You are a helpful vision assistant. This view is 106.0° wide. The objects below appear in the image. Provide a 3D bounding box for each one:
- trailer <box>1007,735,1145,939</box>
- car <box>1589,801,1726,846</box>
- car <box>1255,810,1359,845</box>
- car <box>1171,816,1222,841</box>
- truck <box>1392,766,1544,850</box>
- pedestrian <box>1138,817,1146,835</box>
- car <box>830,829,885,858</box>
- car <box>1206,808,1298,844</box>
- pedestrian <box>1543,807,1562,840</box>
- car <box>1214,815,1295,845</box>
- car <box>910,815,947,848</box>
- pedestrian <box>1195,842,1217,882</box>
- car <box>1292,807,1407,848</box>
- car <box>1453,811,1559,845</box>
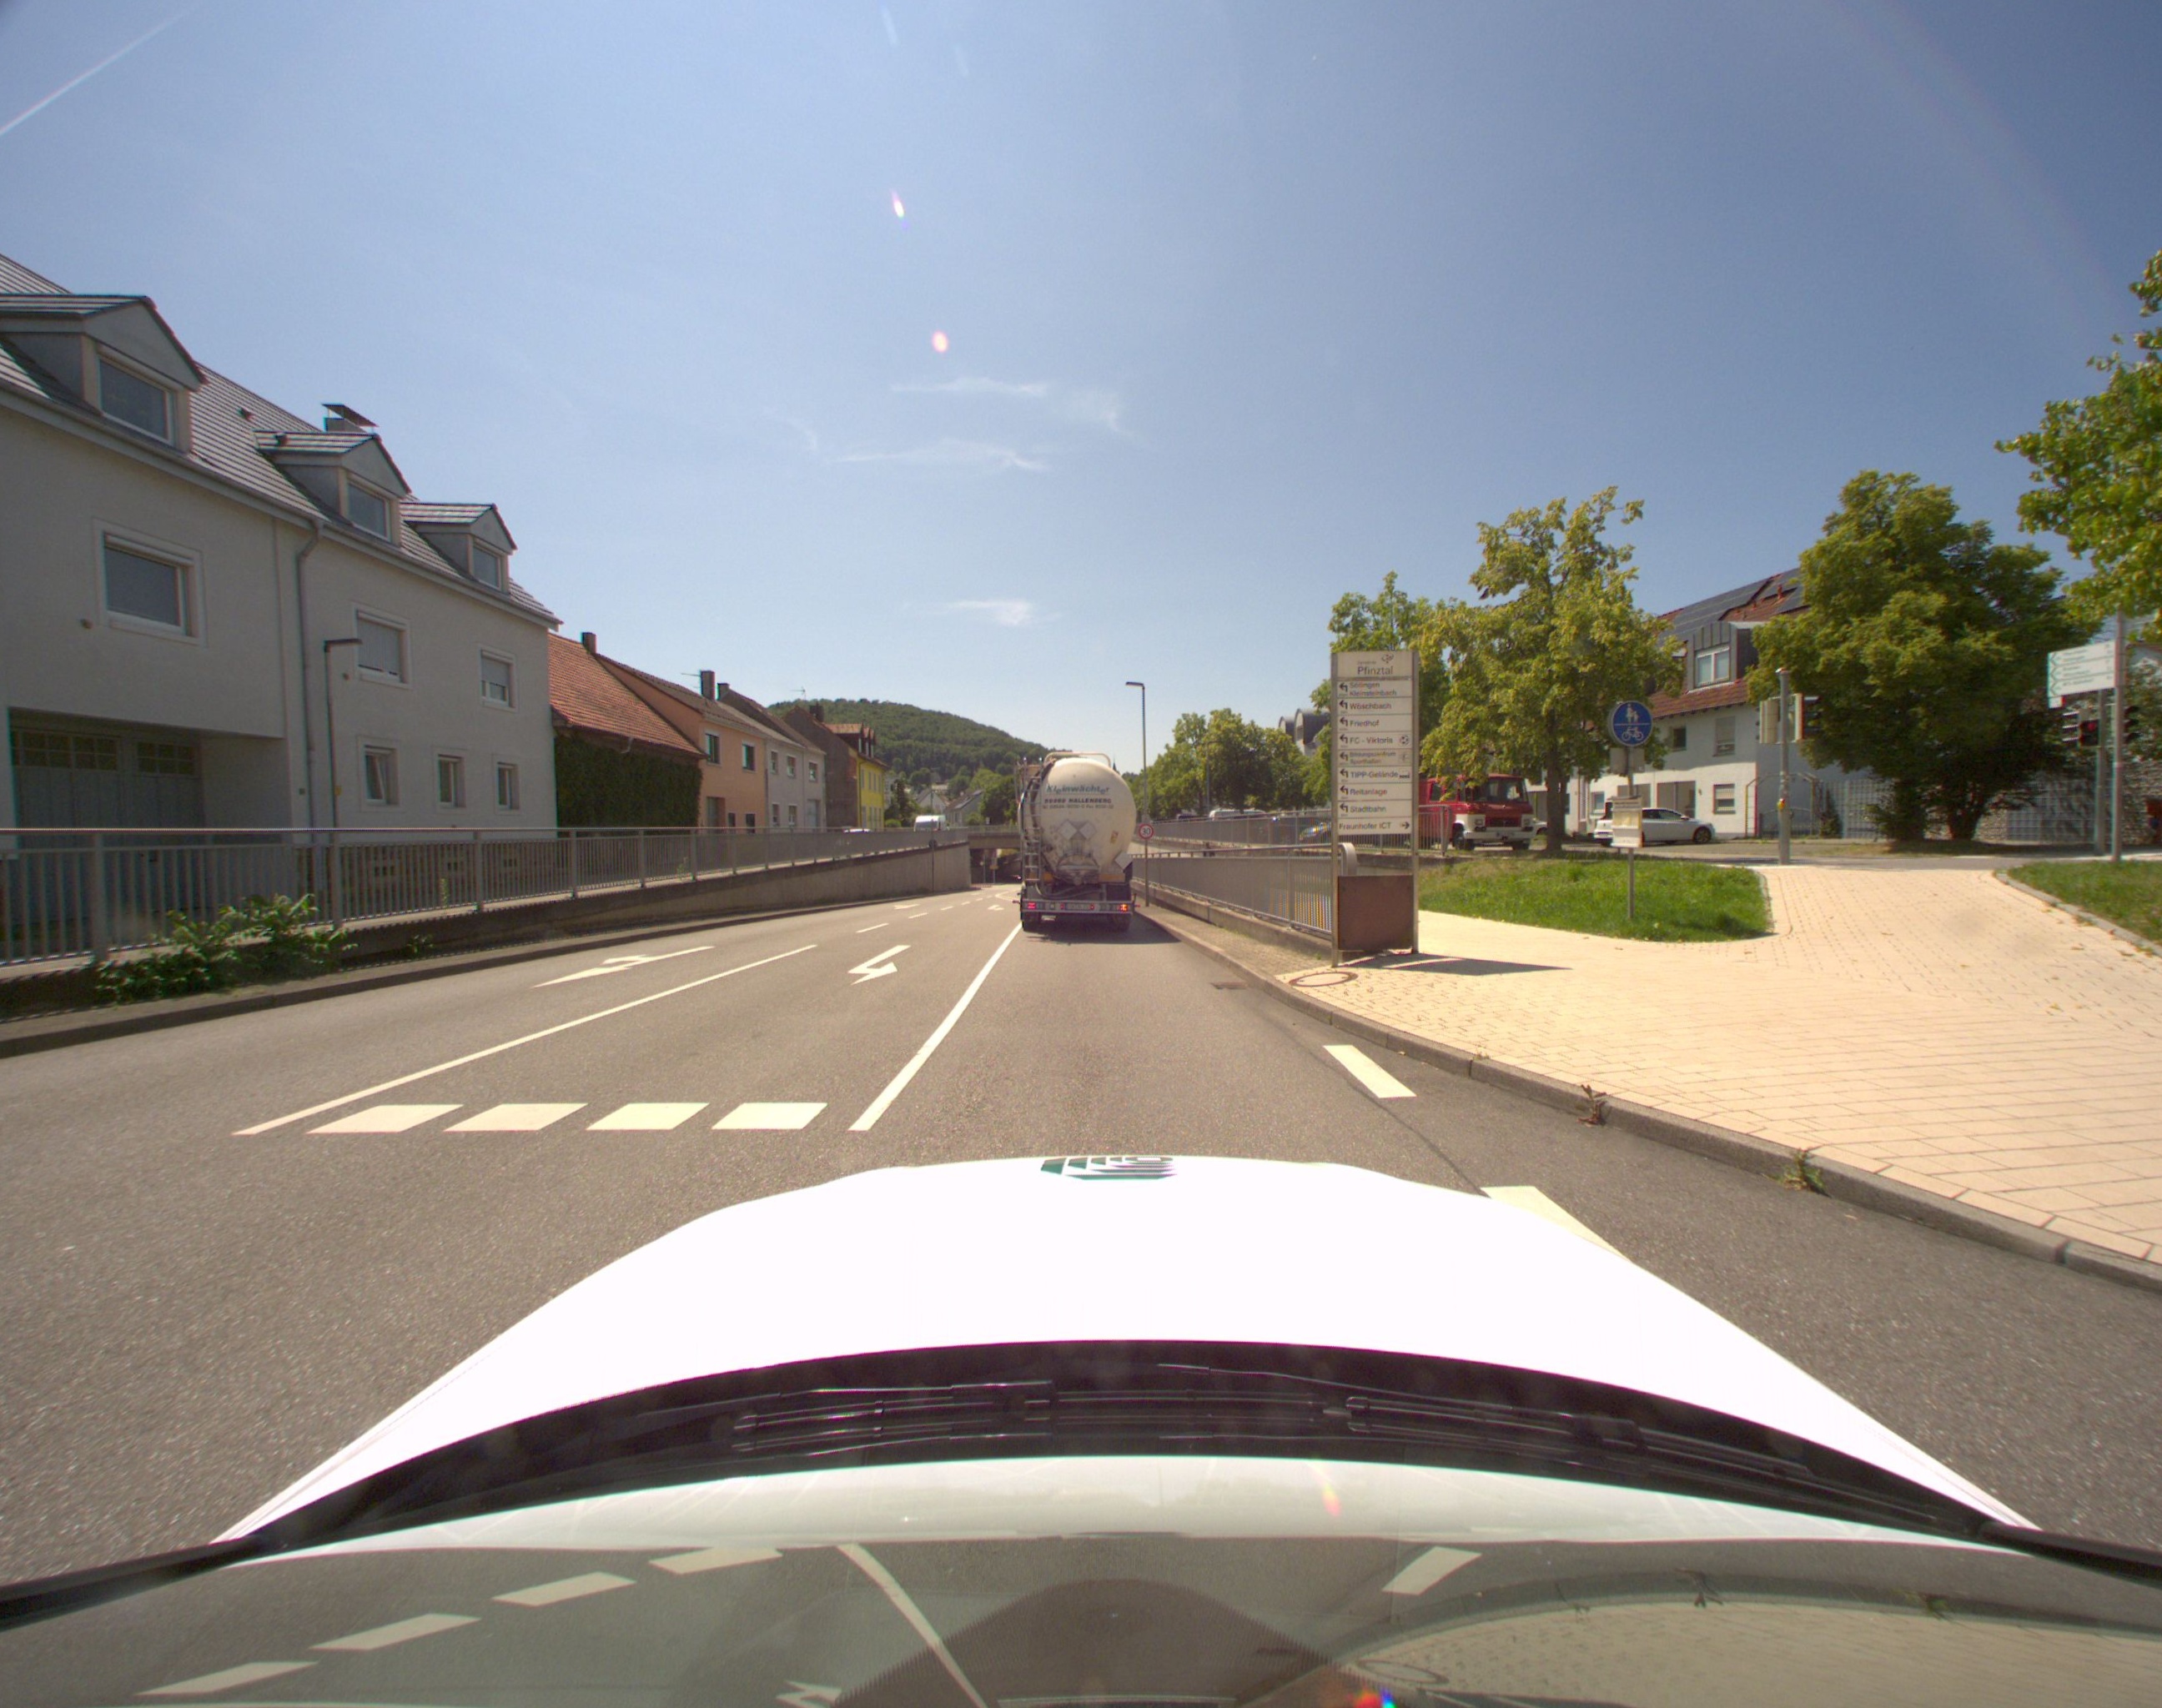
[{"bbox_3d":[-0.207,-0.223,22.890,2.727,4.065,13.304,0,-1,-1],"label":"trailer"},{"bbox_3d":[21.648,-1.130,30.690,3.926,1.478,1.757,-3,1,-2],"label":"car"},{"bbox_3d":[10.135,-1.185,36.690,4.192,1.498,1.686,-1,1,-1],"label":"car"},{"bbox_3d":[9.294,-2.054,65.937,3.894,1.885,1.686,-1,1,-1],"label":"car"},{"bbox_3d":[11.853,-1.363,25.458,2.127,2.334,5.256,-1,1,-2],"label":"truck"},{"bbox_3d":[6.022,-2.723,80.368,0.670,1.779,0.594,-1,1,0],"label":"pedestrian"},{"bbox_3d":[-11.786,-0.607,43.275,1.808,1.462,4.308,1,2,-1],"label":"car"},{"bbox_3d":[10.223,-1.696,49.007,5.096,2.063,1.988,-1,1,-1],"label":"car"},{"bbox_3d":[22.732,-1.471,39.266,0.607,1.511,0.746,-2,2,45],"label":"pedestrian"},{"bbox_3d":[9.809,-1.369,46.241,4.192,1.596,1.686,-1,1,-1],"label":"car"},{"bbox_3d":[-12.289,-1.845,66.067,2.060,2.536,5.658,1,1,-2],"label":"car"},{"bbox_3d":[5.624,0.375,36.684,0.833,1.782,0.788,-1,-1,-1],"label":"pedestrian"},{"bbox_3d":[10.524,-1.048,32.079,3.975,1.498,1.748,-1,1,-1],"label":"car"},{"bbox_3d":[21.334,-1.318,40.980,4.393,1.489,1.757,-3,1,-2],"label":"car"}]
